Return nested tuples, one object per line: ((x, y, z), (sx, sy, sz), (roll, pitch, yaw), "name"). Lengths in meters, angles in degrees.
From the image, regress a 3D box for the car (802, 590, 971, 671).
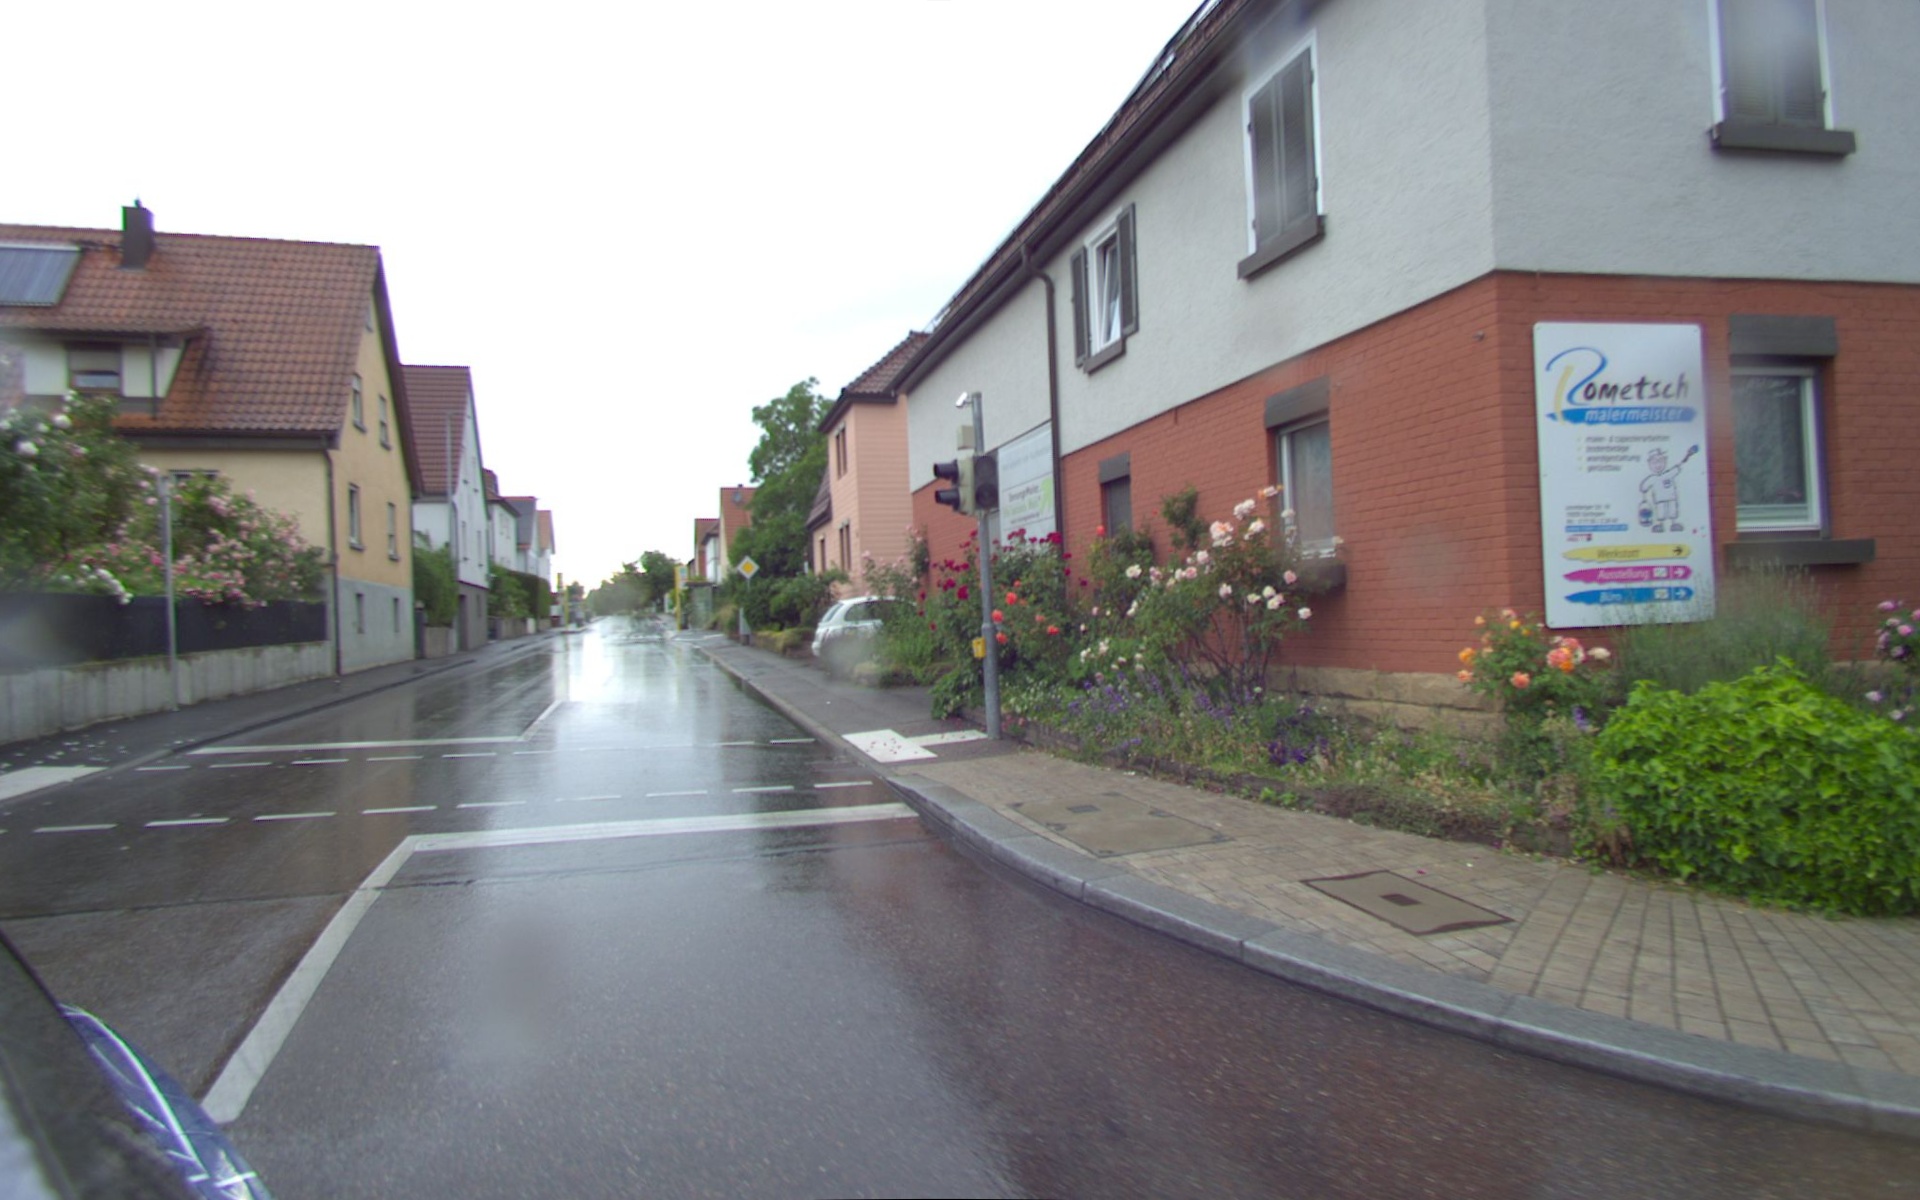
((-1.701, 0.659, 23.191), (3.496, 1.540, 1.668), (-4, 0, -16), "car")

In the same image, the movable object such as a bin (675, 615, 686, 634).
((-16.749, 1.470, 60.696), (0.545, 1.090, 0.529), (-5, 0, -16), "movable object such as a bin")
